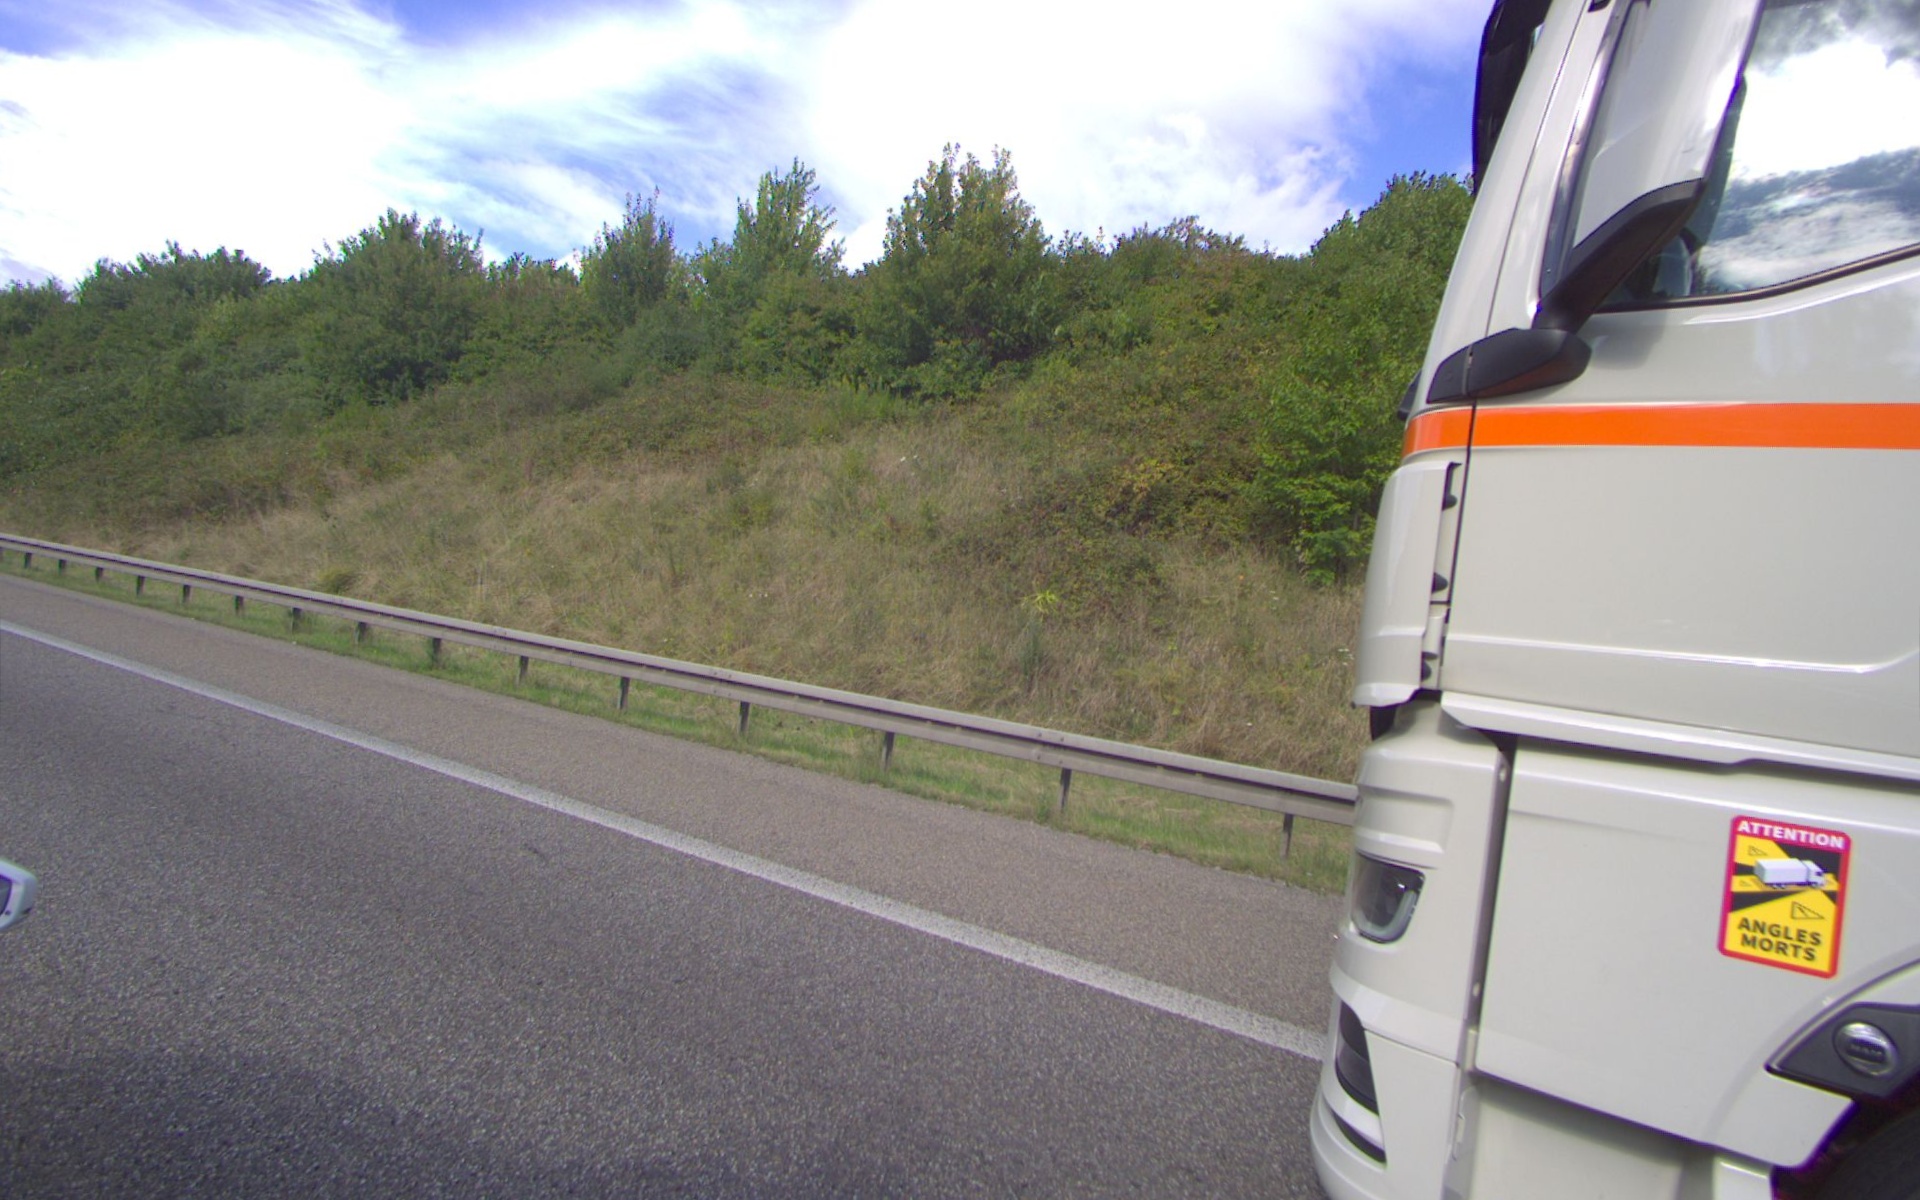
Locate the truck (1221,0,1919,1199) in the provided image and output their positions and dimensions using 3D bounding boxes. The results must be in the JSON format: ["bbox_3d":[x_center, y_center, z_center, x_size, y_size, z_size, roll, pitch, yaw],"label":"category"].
[{"bbox_3d":[3.929,-0.053,1.776,5.807,4.091,2.807,7,-1,33],"label":"truck"}]
